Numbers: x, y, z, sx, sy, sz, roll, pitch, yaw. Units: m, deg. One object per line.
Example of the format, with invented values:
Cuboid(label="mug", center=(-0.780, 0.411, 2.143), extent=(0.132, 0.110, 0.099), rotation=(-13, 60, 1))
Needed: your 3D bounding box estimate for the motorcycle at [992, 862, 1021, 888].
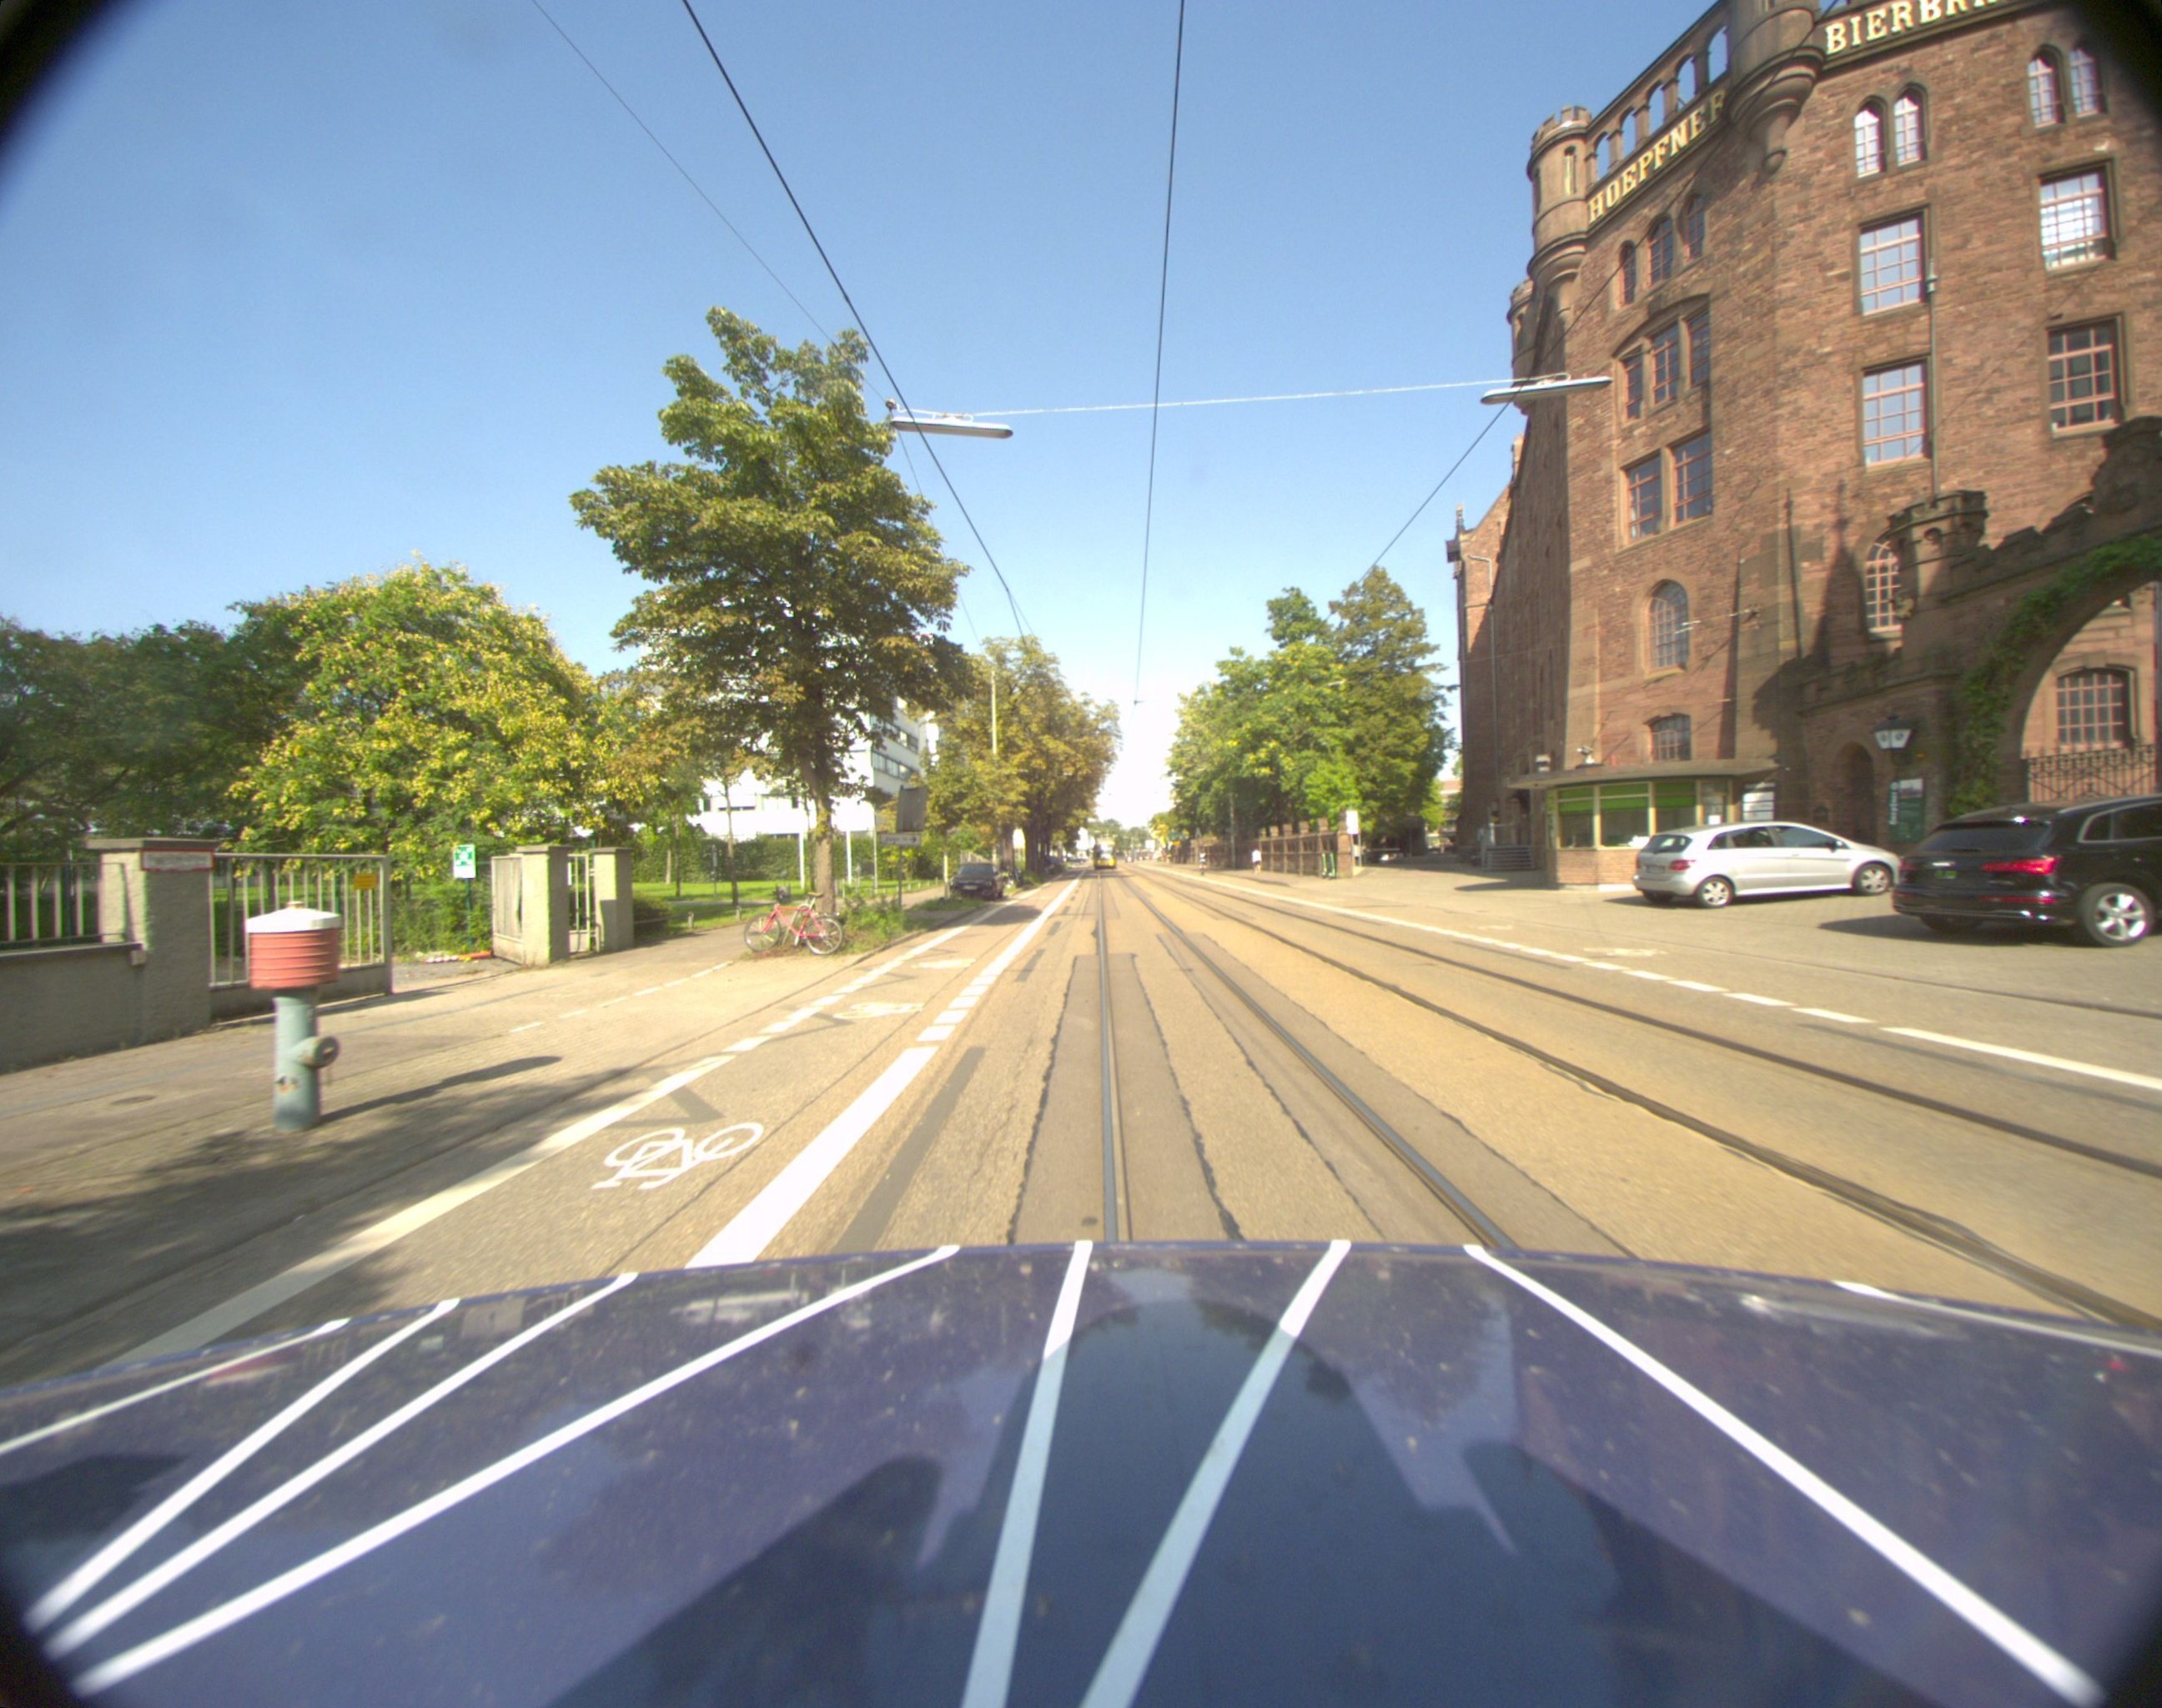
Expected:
Cuboid(label="motorcycle", center=(-3.974, 1.075, 40.443), extent=(0.846, 1.319, 2.062), rotation=(-1, 1, -27))

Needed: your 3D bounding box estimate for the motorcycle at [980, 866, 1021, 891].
Cuboid(label="motorcycle", center=(-4.031, 1.236, 38.112), extent=(1.984, 1.218, 0.647), rotation=(-2, 1, 27))

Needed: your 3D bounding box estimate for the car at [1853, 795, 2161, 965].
Cuboid(label="car", center=(12.813, 0.200, 9.341), extent=(4.407, 1.636, 1.957), rotation=(-6, 0, 3))

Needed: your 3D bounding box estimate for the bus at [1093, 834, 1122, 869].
Cuboid(label="bus", center=(3.167, -0.327, 88.574), extent=(2.900, 3.771, 9.320), rotation=(-2, 0, 4))

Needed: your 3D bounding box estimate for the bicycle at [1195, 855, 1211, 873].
Cuboid(label="bicycle", center=(8.439, 0.686, 52.525), extent=(0.699, 1.151, 2.037), rotation=(-1, 1, -1))

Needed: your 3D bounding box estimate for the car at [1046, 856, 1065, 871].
Cuboid(label="car", center=(-2.751, 1.013, 82.885), extent=(1.866, 1.643, 4.183), rotation=(0, 0, 0))

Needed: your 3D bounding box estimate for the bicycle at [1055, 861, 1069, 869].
Cuboid(label="bicycle", center=(-2.360, 1.335, 93.839), extent=(1.621, 1.009, 0.382), rotation=(-2, 0, -2))

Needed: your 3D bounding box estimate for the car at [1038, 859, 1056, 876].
Cuboid(label="car", center=(-3.113, 1.226, 70.727), extent=(1.566, 1.433, 3.563), rotation=(1, 0, -1))

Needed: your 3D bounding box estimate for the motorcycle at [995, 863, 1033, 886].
Cuboid(label="motorcycle", center=(-3.712, 1.104, 41.900), extent=(2.061, 1.236, 0.846), rotation=(0, 1, 40))

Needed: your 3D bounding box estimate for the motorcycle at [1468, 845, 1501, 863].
Cuboid(label="motorcycle", center=(23.834, 0.014, 44.920), extent=(1.694, 0.995, 0.583), rotation=(-2, 1, 25))

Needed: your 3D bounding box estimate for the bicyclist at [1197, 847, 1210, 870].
Cuboid(label="bicyclist", center=(8.444, 0.286, 52.463), extent=(0.699, 1.571, 1.087), rotation=(-1, 1, -1))

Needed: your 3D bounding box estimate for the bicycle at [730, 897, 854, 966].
Cuboid(label="bicycle", center=(-4.823, 1.281, 12.778), extent=(1.773, 1.058, 0.796), rotation=(0, 1, 0))

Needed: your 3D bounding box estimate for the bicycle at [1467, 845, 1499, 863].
Cuboid(label="bicycle", center=(24.804, -0.009, 46.925), extent=(1.660, 1.040, 0.566), rotation=(-2, 1, 37))

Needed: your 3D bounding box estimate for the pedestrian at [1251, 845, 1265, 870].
Cuboid(label="pedestrian", center=(11.445, 0.238, 49.168), extent=(0.717, 1.580, 0.775), rotation=(-2, 1, 1))

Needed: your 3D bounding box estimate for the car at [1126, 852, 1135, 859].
Cuboid(label="car", center=(10.490, 0.380, 160.005), extent=(1.694, 1.433, 4.000), rotation=(-2, 0, 2))

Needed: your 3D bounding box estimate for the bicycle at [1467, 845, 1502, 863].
Cuboid(label="bicycle", center=(24.370, 0.021, 45.899), extent=(1.772, 1.040, 0.666), rotation=(-2, 1, 37))

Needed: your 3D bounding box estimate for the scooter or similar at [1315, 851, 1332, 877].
Cuboid(label="scooter or similar", center=(11.502, 0.476, 36.056), extent=(0.818, 1.142, 0.283), rotation=(-6, 3, -35))

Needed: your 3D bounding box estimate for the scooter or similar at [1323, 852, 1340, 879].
Cuboid(label="scooter or similar", center=(11.483, 0.519, 34.821), extent=(0.818, 1.142, 0.283), rotation=(-6, 3, -35))

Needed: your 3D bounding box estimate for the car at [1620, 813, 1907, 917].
Cuboid(label="car", center=(13.562, 0.214, 15.313), extent=(3.908, 1.586, 1.823), rotation=(-6, 0, 4))

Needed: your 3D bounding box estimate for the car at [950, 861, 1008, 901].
Cuboid(label="car", center=(-4.082, 1.056, 30.976), extent=(1.745, 1.477, 4.437), rotation=(-1, 0, 0))
